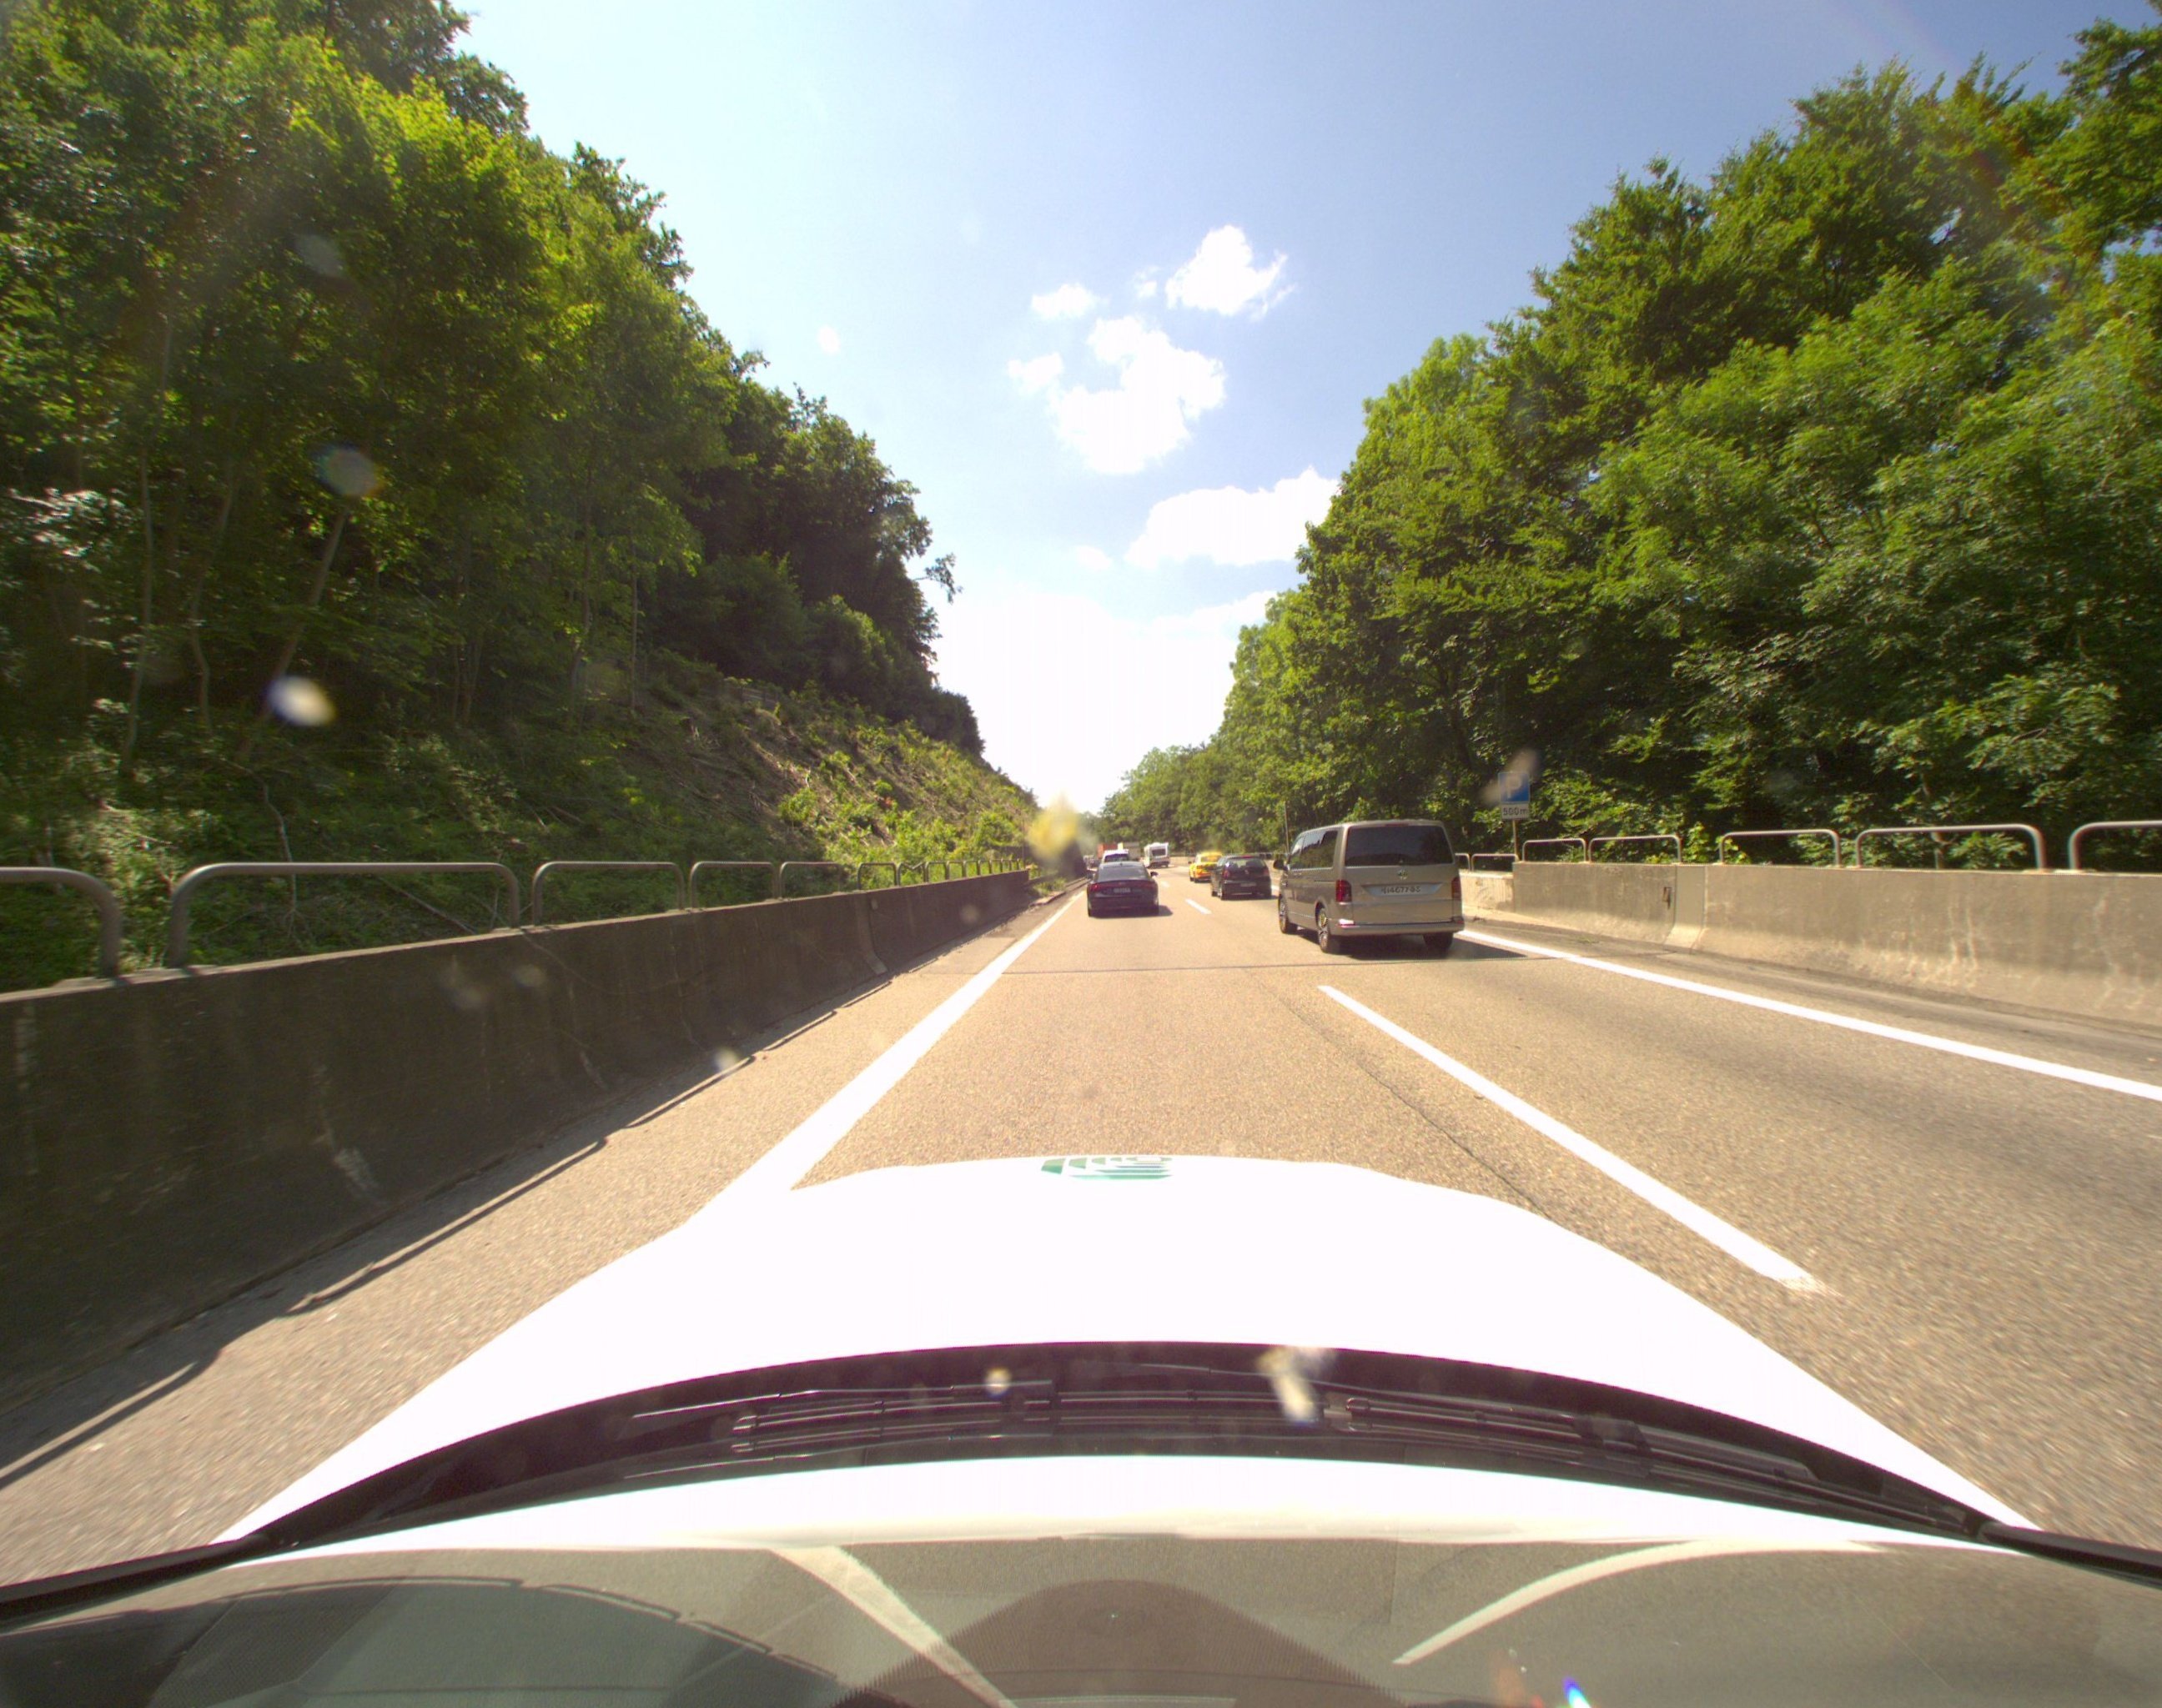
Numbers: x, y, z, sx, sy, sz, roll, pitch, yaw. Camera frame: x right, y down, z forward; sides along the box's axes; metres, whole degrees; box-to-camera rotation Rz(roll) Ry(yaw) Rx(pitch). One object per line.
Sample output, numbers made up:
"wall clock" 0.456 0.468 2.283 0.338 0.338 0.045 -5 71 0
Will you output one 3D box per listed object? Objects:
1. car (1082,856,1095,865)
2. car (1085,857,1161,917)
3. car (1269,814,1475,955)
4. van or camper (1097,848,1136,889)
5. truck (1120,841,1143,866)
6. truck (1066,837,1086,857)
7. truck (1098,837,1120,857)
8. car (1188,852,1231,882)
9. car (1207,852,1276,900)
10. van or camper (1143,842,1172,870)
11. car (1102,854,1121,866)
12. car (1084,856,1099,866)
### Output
"car" 1.262 1.110 137.303 1.749 1.571 3.762 -1 0 -7
"car" 1.085 0.856 22.781 1.898 1.489 4.379 -1 0 1
"car" 4.563 0.435 13.625 1.933 1.931 4.697 -1 0 2
"van or camper" 1.845 0.699 41.240 1.845 1.942 4.169 -1 0 3
"truck" 7.585 -0.084 124.047 2.917 3.687 7.720 0 0 -1
"truck" -1.229 -1.597 186.627 3.708 4.504 7.702 0 0 -8
"truck" 4.929 -1.174 145.974 3.156 3.468 8.212 0 0 -3
"car" 6.593 0.652 42.206 1.801 1.478 4.085 -1 0 3
"car" 5.337 0.684 27.473 1.678 1.458 4.003 -1 0 3
"van or camper" 8.323 0.198 88.901 2.595 2.855 6.335 -1 0 0
"car" 3.964 0.790 107.578 1.990 1.618 3.993 -1 0 -5
"car" 1.608 1.064 124.294 1.749 1.571 3.762 -1 0 -7
